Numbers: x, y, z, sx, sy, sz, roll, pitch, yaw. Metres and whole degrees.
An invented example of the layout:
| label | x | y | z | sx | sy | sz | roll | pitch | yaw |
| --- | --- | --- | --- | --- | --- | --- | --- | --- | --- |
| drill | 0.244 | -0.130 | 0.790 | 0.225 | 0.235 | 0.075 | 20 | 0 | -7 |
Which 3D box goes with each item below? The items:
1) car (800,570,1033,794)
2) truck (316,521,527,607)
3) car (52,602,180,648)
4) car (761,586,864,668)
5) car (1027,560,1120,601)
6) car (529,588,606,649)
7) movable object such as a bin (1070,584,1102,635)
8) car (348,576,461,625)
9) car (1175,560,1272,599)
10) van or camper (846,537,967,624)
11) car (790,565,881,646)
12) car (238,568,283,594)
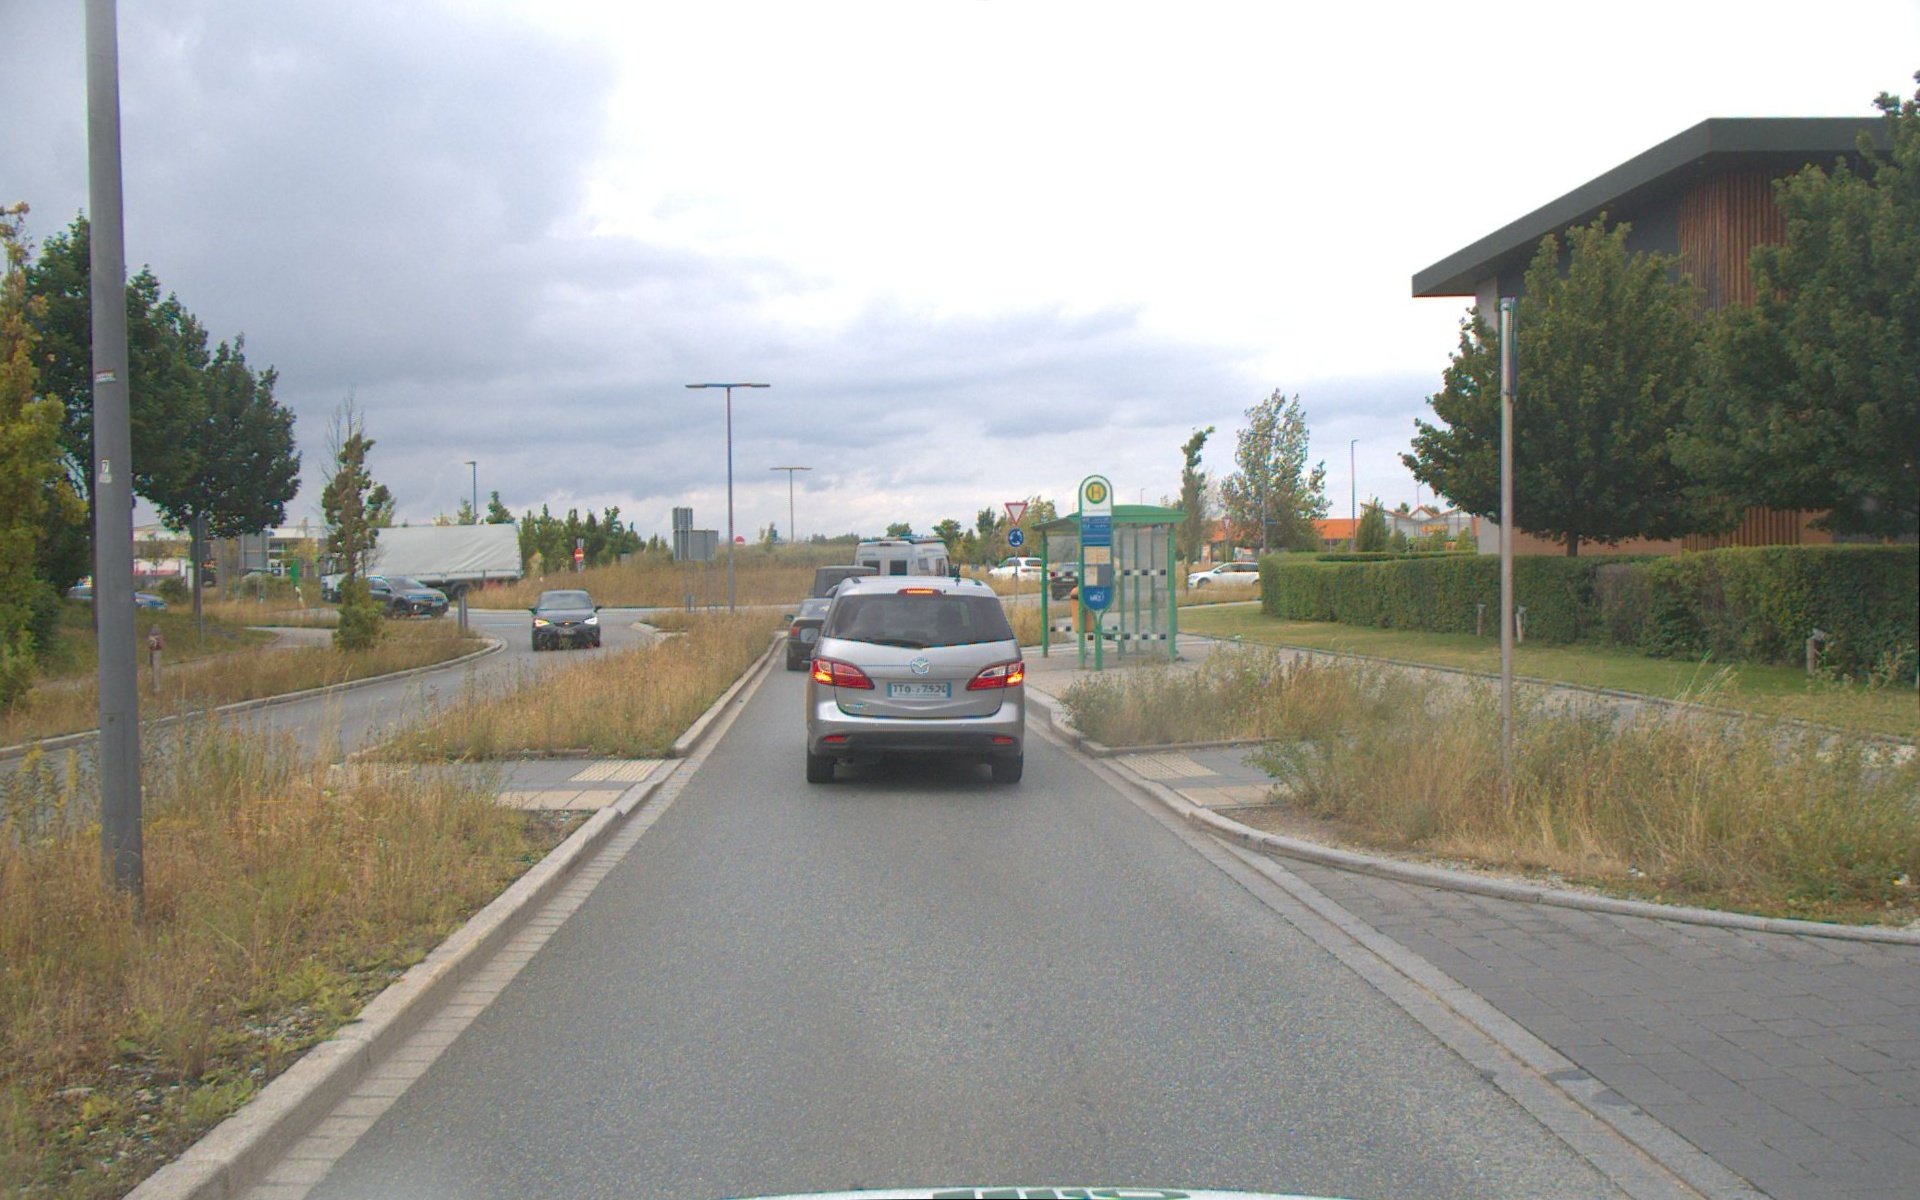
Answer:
| label | x | y | z | sx | sy | sz | roll | pitch | yaw |
| --- | --- | --- | --- | --- | --- | --- | --- | --- | --- |
| car | -0.427 | 0.571 | 14.006 | 1.695 | 1.628 | 3.804 | 0 | 1 | -4 |
| truck | -25.877 | -1.737 | 79.688 | 9.214 | 3.975 | 3.109 | -1 | 1 | -32 |
| car | -32.824 | 0.968 | 64.373 | 4.124 | 1.555 | 1.849 | -3 | 0 | 10 |
| car | -2.825 | 0.471 | 32.418 | 1.808 | 1.443 | 4.223 | -1 | 1 | -3 |
| car | 4.460 | -0.757 | 64.318 | 1.957 | 1.542 | 3.990 | -1 | 1 | 32 |
| car | -10.238 | 0.446 | 43.346 | 1.809 | 1.431 | 3.987 | -3 | 1 | -12 |
| movable object such as a bin | 2.019 | 0.151 | 26.458 | 0.447 | 0.812 | 0.379 | -1 | 0 | -5 |
| car | -19.939 | 0.022 | 59.293 | 4.129 | 1.620 | 2.053 | -1 | 2 | 42 |
| car | 12.667 | -0.993 | 79.727 | 4.504 | 1.788 | 2.001 | 0 | 0 | 6 |
| van or camper | -1.599 | -0.612 | 51.645 | 2.254 | 2.549 | 5.209 | 0 | 1 | 16 |
| car | -2.990 | 0.106 | 40.681 | 2.017 | 1.857 | 4.784 | -1 | 0 | -2 |
| car | -53.228 | -1.444 | 125.938 | 1.954 | 1.892 | 3.997 | 0 | 1 | -4 |
